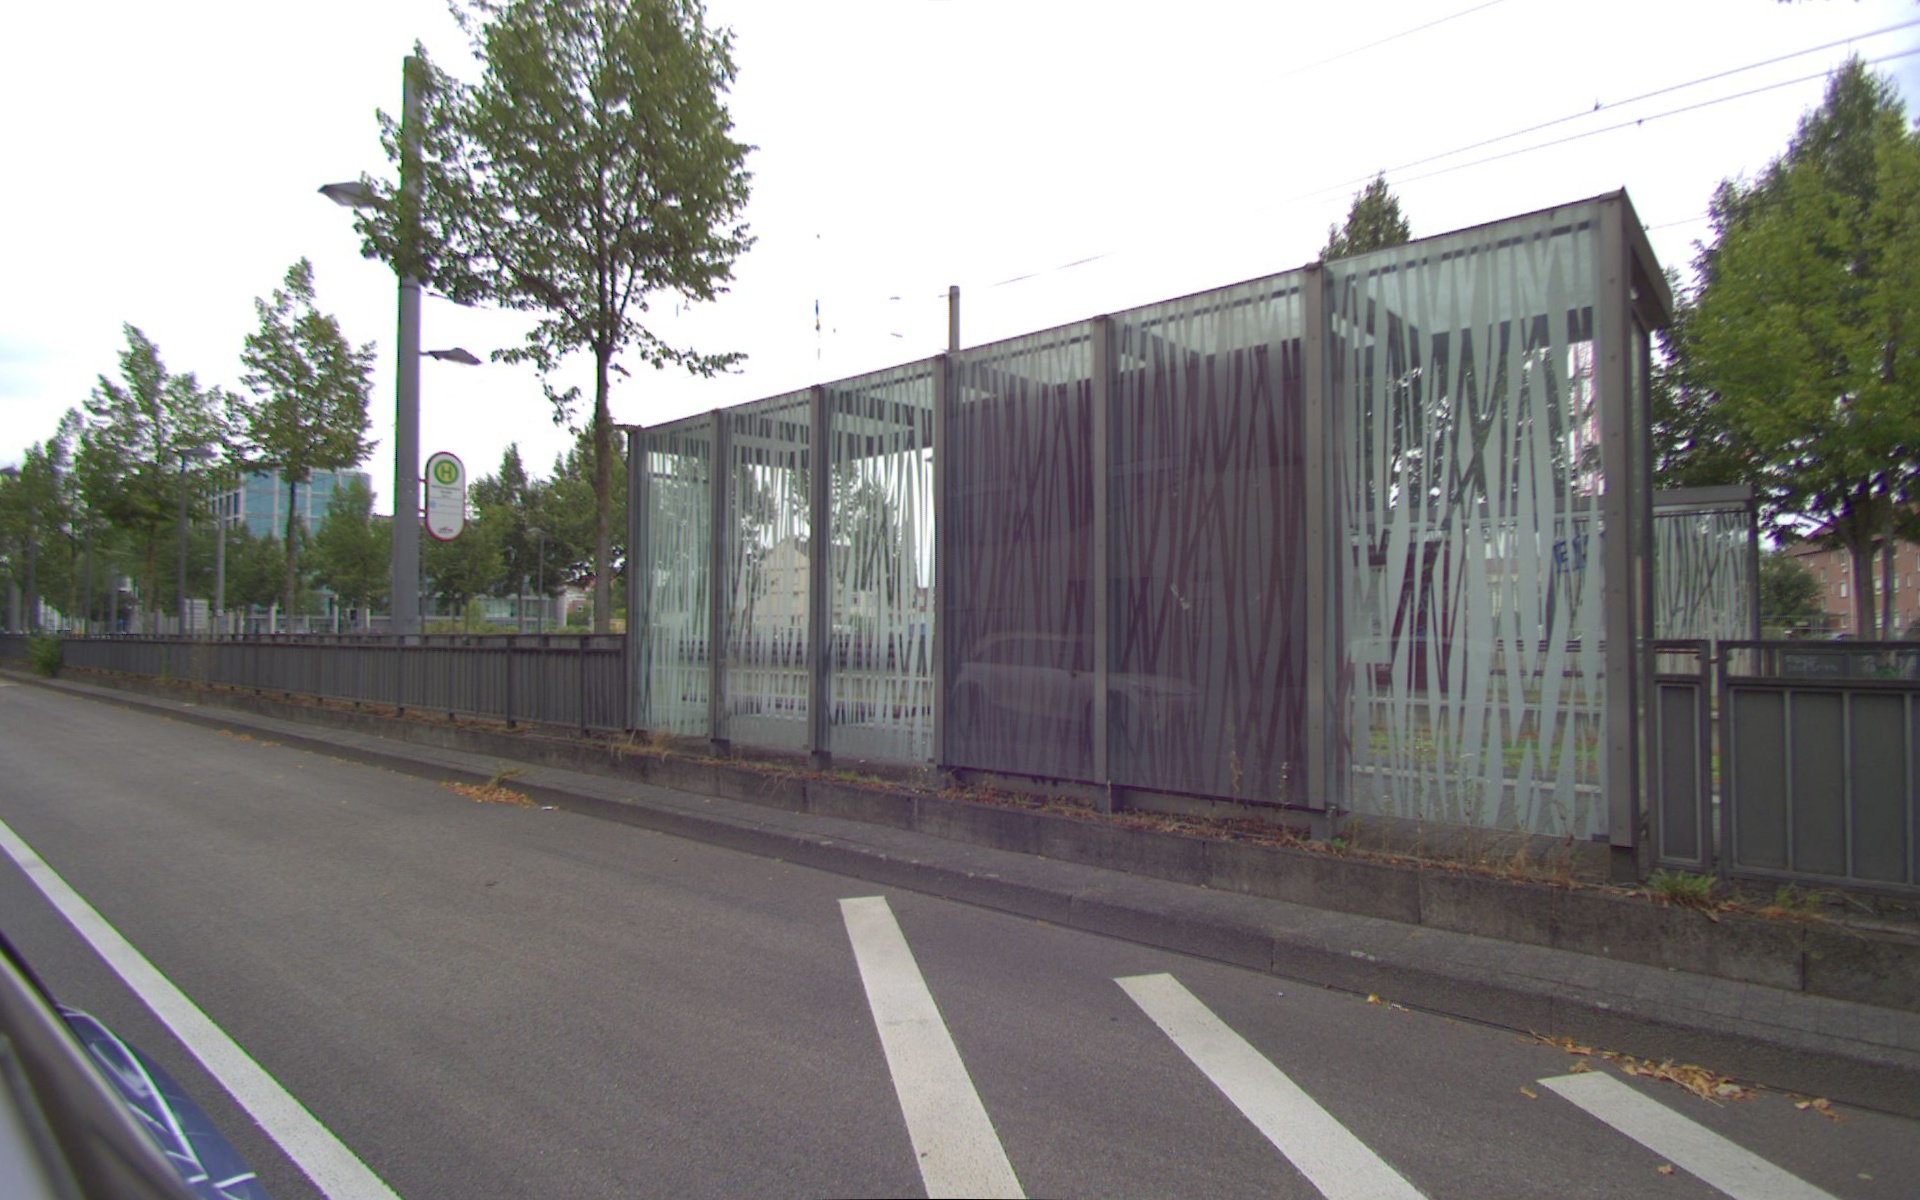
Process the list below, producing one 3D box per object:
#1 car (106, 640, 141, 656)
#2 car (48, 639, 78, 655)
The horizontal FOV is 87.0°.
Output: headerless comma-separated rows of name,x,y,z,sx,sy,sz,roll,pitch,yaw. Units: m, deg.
car,-85.570,4.914,103.543,4.686,1.669,1.809,-2,-3,39
car,-107.662,5.630,121.472,5.093,1.959,1.973,-2,-3,41
